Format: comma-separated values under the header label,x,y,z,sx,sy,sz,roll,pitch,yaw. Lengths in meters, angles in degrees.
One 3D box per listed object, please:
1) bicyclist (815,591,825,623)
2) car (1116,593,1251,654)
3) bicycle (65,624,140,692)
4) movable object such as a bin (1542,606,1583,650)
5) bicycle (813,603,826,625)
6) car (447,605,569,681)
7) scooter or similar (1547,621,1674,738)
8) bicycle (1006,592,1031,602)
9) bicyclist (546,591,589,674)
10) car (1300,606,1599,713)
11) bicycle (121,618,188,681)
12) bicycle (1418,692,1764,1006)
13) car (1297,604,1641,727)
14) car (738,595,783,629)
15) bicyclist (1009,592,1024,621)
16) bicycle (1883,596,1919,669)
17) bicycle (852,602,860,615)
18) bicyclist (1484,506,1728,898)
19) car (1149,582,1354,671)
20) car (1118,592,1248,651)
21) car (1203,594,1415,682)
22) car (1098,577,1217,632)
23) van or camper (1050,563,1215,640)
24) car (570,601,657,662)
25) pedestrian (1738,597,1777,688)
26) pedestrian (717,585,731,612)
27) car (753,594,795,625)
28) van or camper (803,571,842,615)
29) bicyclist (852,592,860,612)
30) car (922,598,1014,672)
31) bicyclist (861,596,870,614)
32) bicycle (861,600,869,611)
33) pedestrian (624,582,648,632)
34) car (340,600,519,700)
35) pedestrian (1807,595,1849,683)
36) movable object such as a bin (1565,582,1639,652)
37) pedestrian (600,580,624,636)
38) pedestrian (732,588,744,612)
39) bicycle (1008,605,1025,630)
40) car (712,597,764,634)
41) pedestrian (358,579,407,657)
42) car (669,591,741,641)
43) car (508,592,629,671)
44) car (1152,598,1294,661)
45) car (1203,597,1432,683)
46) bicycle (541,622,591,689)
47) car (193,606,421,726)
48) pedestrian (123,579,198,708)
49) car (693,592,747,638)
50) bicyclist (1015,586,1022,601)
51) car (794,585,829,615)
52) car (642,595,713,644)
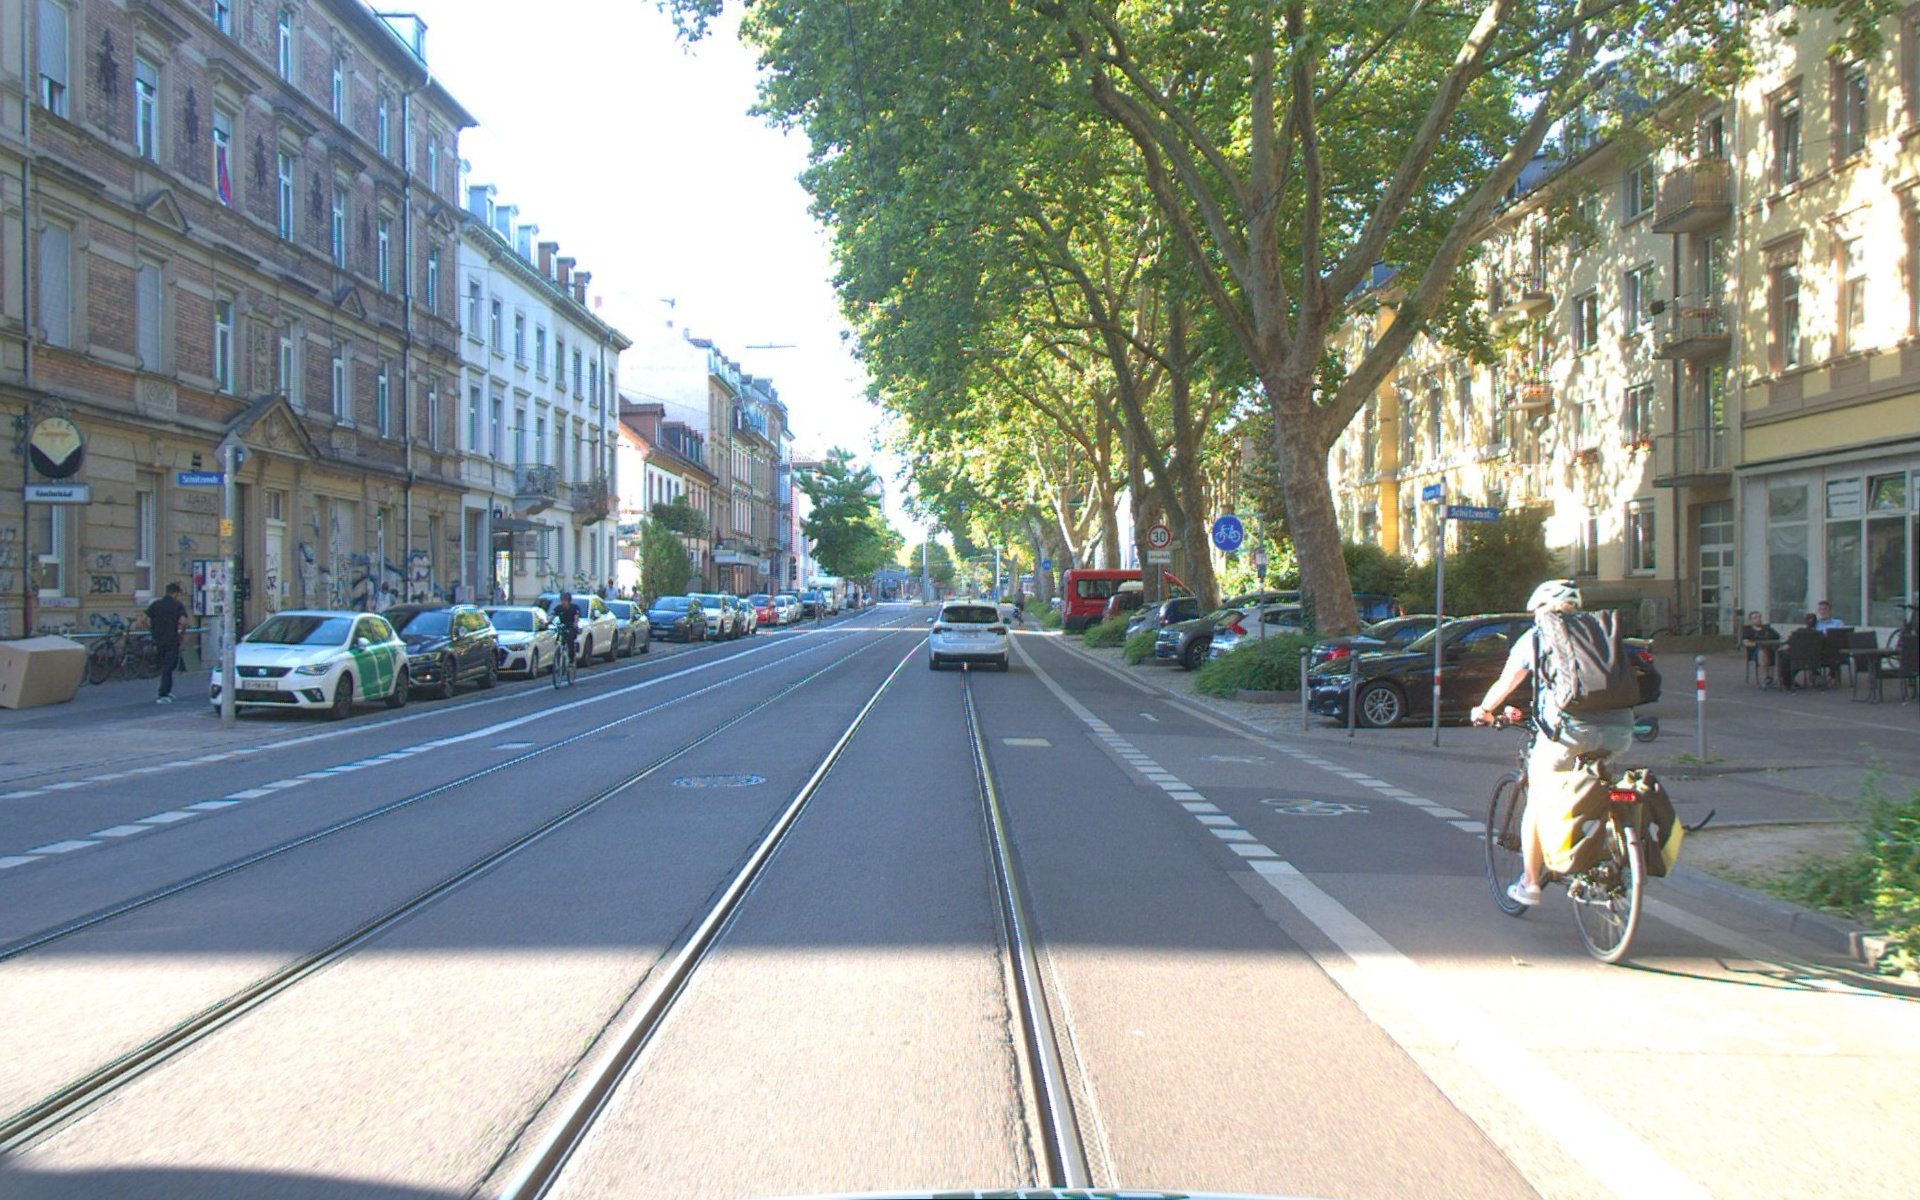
label,x,y,z,sx,sy,sz,roll,pitch,yaw
bicyclist,-7.234,0.360,85.527,0.463,1.664,0.800,0,0,1
car,6.217,0.649,46.301,3.522,1.544,1.693,-2,0,0
bicycle,-14.244,0.943,27.509,0.365,1.052,1.847,0,0,-3
movable object such as a bin,13.723,0.629,37.655,0.732,0.959,0.465,-2,0,0
bicycle,-7.240,0.729,85.428,0.471,1.105,1.846,0,0,1
car,-9.286,0.845,34.278,1.666,1.445,3.996,1,0,-4
scooter or similar,7.251,0.875,18.458,1.279,1.278,0.341,0,0,13
bicycle,6.345,-0.367,179.379,2.711,1.017,0.593,1,0,15
bicyclist,-7.269,0.598,30.651,0.570,1.508,0.807,-1,0,-1
car,7.199,0.866,24.618,4.010,1.517,1.682,0,0,4
bicycle,-14.316,0.858,29.433,0.365,1.052,1.847,0,0,-3
bicycle,2.760,1.023,7.576,0.583,1.022,2.511,2,0,0
car,6.691,0.836,22.017,4.014,1.517,1.830,0,0,-3
car,-9.765,0.562,81.051,1.536,1.590,3.450,0,0,4
bicyclist,2.688,0.318,78.359,0.665,1.362,0.525,1,0,0
bicycle,15.975,0.538,27.309,0.460,1.176,1.746,-2,1,0
bicycle,-8.600,0.712,136.866,0.474,1.065,2.040,-2,0,2
bicyclist,2.824,0.421,7.314,0.602,1.579,0.935,4,0,0
car,6.470,0.572,37.009,4.177,1.749,1.848,-3,0,-3
car,6.614,0.627,49.366,3.595,1.550,1.693,-3,0,0
car,7.119,0.754,33.980,3.947,1.672,1.681,-1,0,-2
car,6.655,0.159,56.002,3.742,1.678,1.766,-2,-1,-3
van or camper,6.267,0.018,60.697,5.698,2.563,2.287,-2,1,-2
car,-9.398,0.814,45.120,1.629,1.547,4.062,1,0,-2
pedestrian,12.539,0.654,25.997,0.476,1.399,1.054,0,0,30
pedestrian,-14.815,-0.087,103.810,0.759,1.662,0.654,1,0,-16
car,-9.686,0.480,86.282,1.790,1.529,4.686,1,0,-2
van or camper,-10.435,-0.533,126.101,2.170,3.195,7.115,1,0,2
bicyclist,-8.611,0.175,136.854,0.524,1.663,0.897,-2,0,2
car,0.121,0.714,35.826,1.805,1.506,3.836,1,0,-2
bicyclist,-8.217,0.458,143.504,0.625,1.529,1.070,-1,0,1
bicycle,-8.231,0.494,143.546,0.488,0.959,1.922,-2,0,2
pedestrian,-12.046,0.249,61.513,0.744,1.853,0.829,0,0,-3
car,-9.242,0.817,29.224,1.705,1.589,4.785,1,0,-1
pedestrian,13.603,0.607,25.919,0.477,1.351,0.684,0,0,36
movable object such as a bin,13.877,0.355,35.786,1.143,1.462,1.117,-2,0,0
pedestrian,-12.978,0.298,61.660,0.744,2.049,0.829,0,0,-2
pedestrian,-13.981,0.016,104.092,0.625,1.486,0.654,1,0,-16
bicycle,2.680,0.813,78.290,0.666,1.175,2.964,1,0,0
car,-9.473,0.653,70.886,1.652,1.502,4.257,1,0,0
pedestrian,-12.852,0.396,36.820,0.650,1.694,0.767,1,0,31
car,-9.205,0.554,60.096,1.818,1.733,4.763,-1,0,1
car,-9.319,0.711,39.721,1.750,1.753,4.718,1,0,0
car,6.953,0.772,43.870,3.521,1.627,1.541,0,-1,0
car,6.744,0.737,31.443,3.946,1.506,1.681,-1,0,-2
bicycle,-7.283,1.014,30.652,0.412,1.170,2.231,-1,0,-1
car,-9.215,0.875,23.697,1.705,1.518,4.044,1,0,-1
pedestrian,-11.597,0.618,24.018,0.671,1.832,1.055,1,0,-9
car,-9.437,0.547,65.365,1.820,1.733,4.654,-1,0,-5
bicyclist,6.340,-0.757,179.385,0.721,1.617,0.587,-1,0,12
car,-9.643,0.004,107.829,1.925,1.812,4.936,2,0,-2
car,-9.375,0.633,55.163,1.521,1.542,3.925,-1,0,2
